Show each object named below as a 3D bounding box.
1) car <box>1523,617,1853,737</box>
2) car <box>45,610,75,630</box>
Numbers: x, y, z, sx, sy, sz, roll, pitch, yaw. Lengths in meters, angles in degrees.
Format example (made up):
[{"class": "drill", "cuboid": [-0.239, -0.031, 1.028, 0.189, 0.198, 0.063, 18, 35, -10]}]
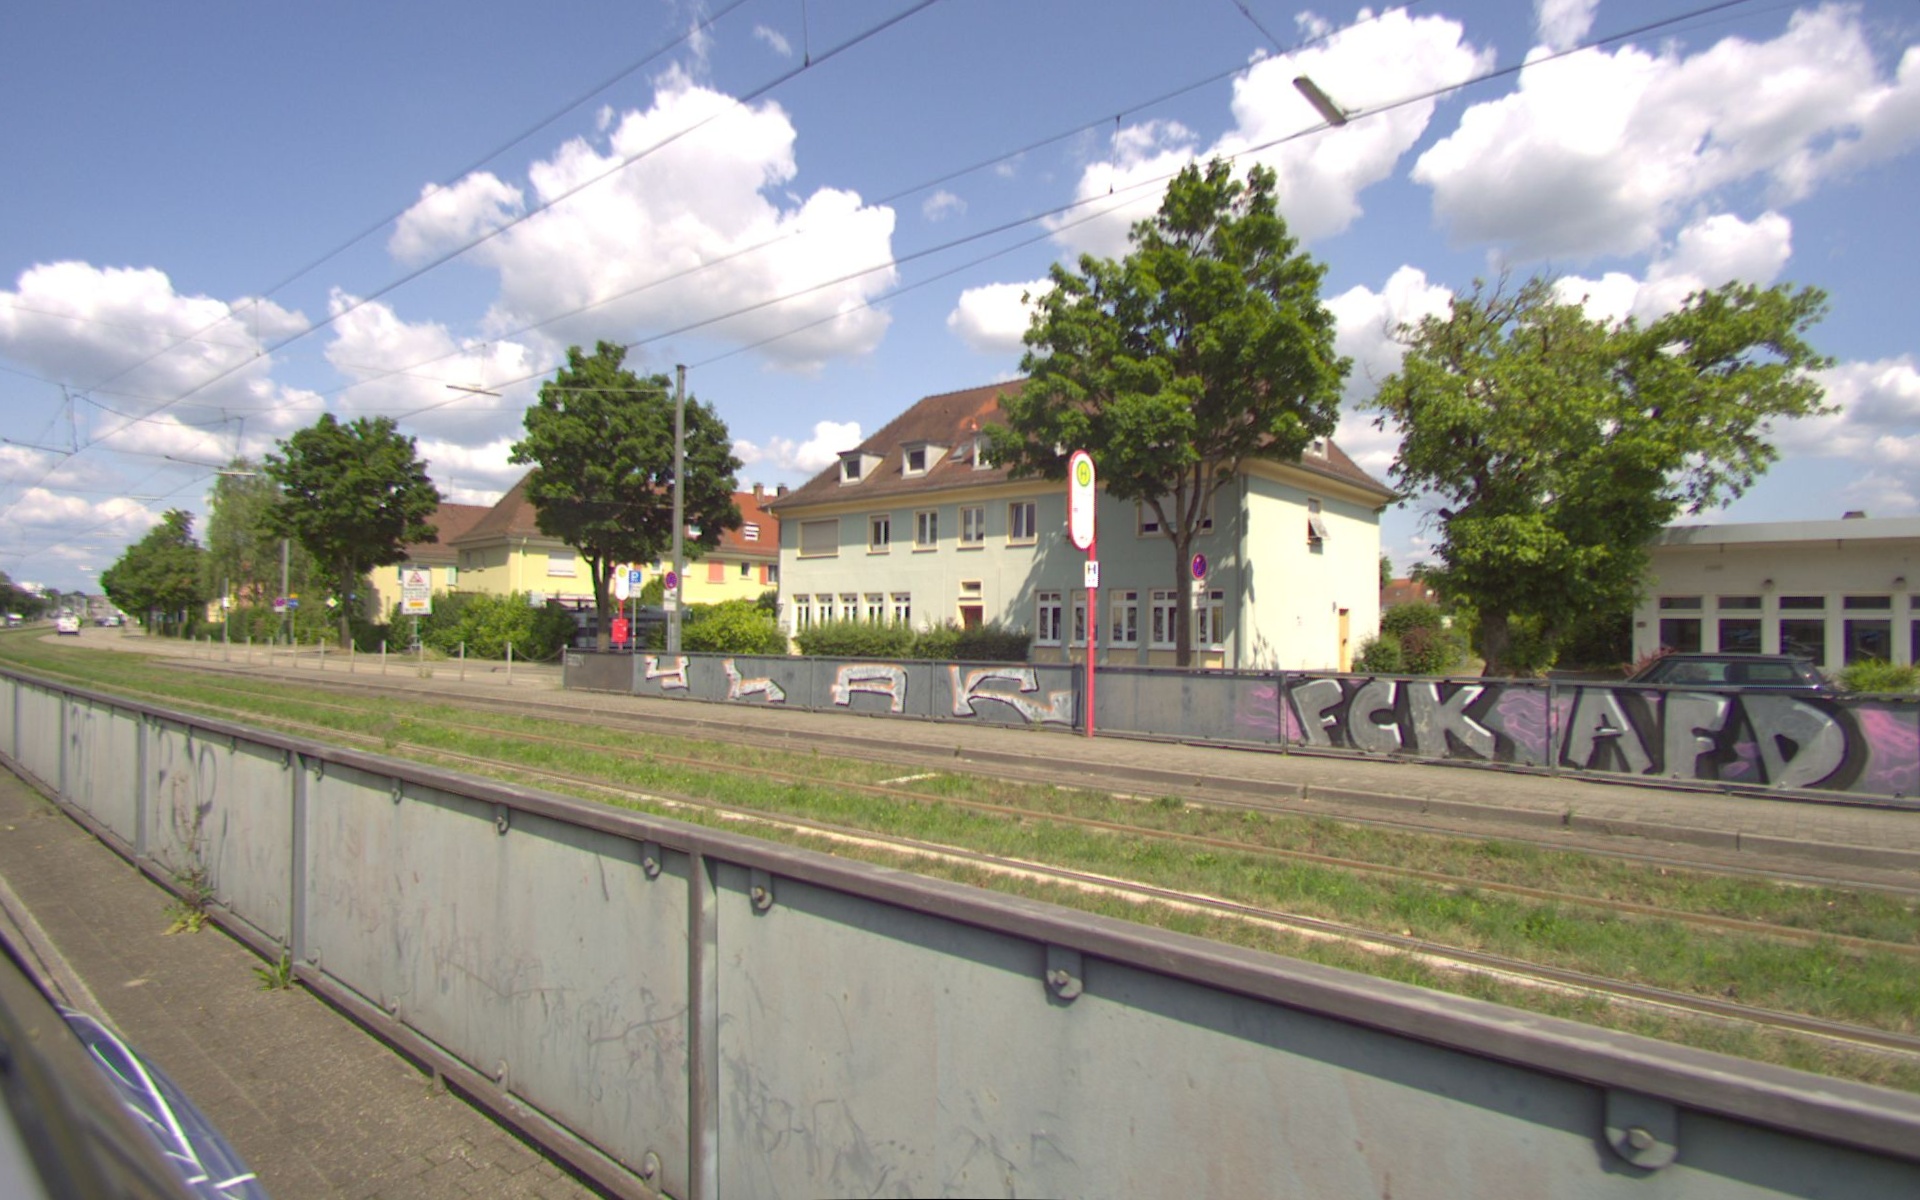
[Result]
[{"class": "car", "cuboid": [11.060, 1.071, 15.539, 3.930, 1.596, 1.767, -1, -2, 43]}, {"class": "car", "cuboid": [-112.917, 2.532, 126.960, 5.331, 2.390, 2.173, -1, -3, 42]}]
